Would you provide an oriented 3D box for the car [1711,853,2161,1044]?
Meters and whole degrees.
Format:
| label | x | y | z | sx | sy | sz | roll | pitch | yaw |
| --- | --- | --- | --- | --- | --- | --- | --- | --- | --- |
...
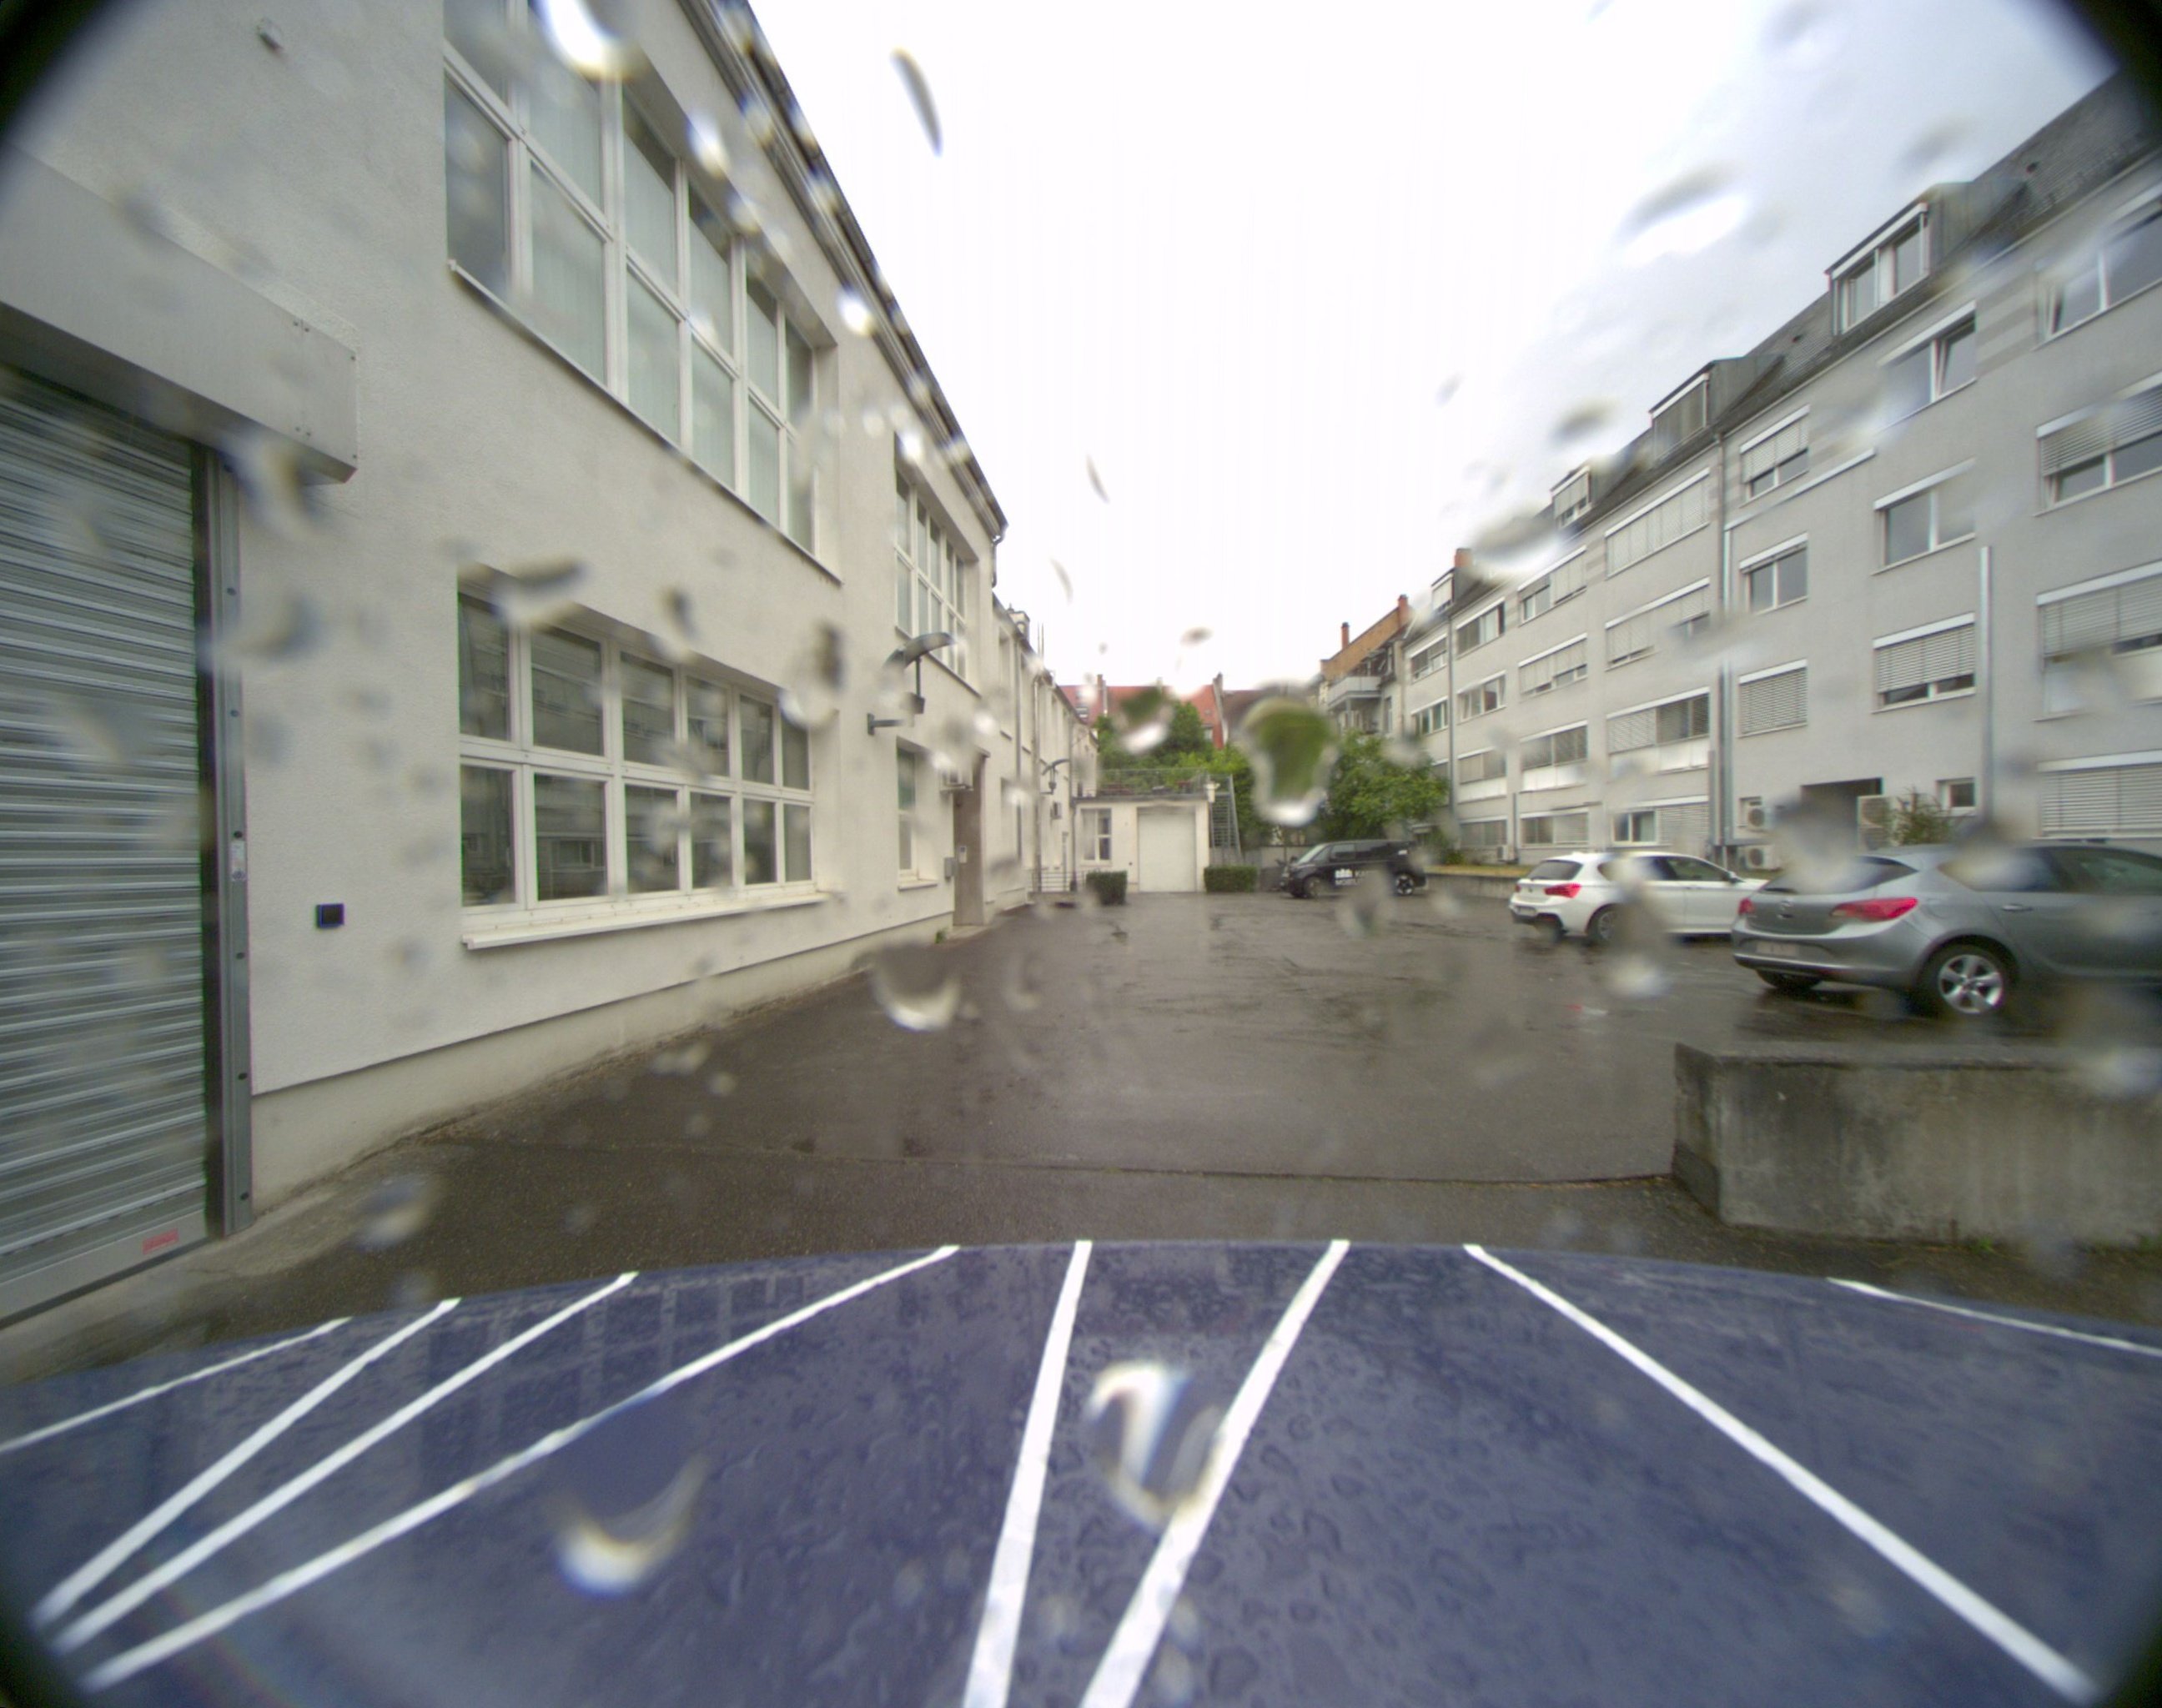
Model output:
| label | x | y | z | sx | sy | sz | roll | pitch | yaw |
| --- | --- | --- | --- | --- | --- | --- | --- | --- | --- |
| car | 8.620 | 0.758 | 6.926 | 4.175 | 1.475 | 1.823 | -1 | 0 | 2 |

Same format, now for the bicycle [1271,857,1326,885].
| label | x | y | z | sx | sy | sz | roll | pitch | yaw |
| --- | --- | --- | --- | --- | --- | --- | --- | --- | --- |
| bicycle | 9.852 | 0.759 | 34.423 | 2.318 | 1.180 | 0.643 | -1 | 3 | 8 |

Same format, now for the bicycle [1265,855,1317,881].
| label | x | y | z | sx | sy | sz | roll | pitch | yaw |
| --- | --- | --- | --- | --- | --- | --- | --- | --- | --- |
| bicycle | 10.051 | 0.673 | 36.379 | 2.318 | 1.180 | 0.643 | -1 | 3 | 8 |

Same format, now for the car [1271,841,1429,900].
| label | x | y | z | sx | sy | sz | roll | pitch | yaw |
| --- | --- | --- | --- | --- | --- | --- | --- | --- | --- |
| car | 9.072 | 0.562 | 25.896 | 4.628 | 1.825 | 1.988 | -1 | -1 | 0 |

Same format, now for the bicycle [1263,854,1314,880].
| label | x | y | z | sx | sy | sz | roll | pitch | yaw |
| --- | --- | --- | --- | --- | --- | --- | --- | --- | --- |
| bicycle | 10.080 | 0.646 | 37.012 | 2.318 | 1.180 | 0.643 | -1 | 3 | 8 |

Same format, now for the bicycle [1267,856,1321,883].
| label | x | y | z | sx | sy | sz | roll | pitch | yaw |
| --- | --- | --- | --- | --- | --- | --- | --- | --- | --- |
| bicycle | 9.871 | 0.726 | 35.225 | 2.318 | 1.180 | 0.643 | -1 | 3 | 8 |

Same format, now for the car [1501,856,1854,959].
| label | x | y | z | sx | sy | sz | roll | pitch | yaw |
| --- | --- | --- | --- | --- | --- | --- | --- | --- | --- |
| car | 9.189 | 0.792 | 11.989 | 4.149 | 1.425 | 1.753 | -1 | 1 | 2 |

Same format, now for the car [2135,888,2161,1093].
| label | x | y | z | sx | sy | sz | roll | pitch | yaw |
| --- | --- | --- | --- | --- | --- | --- | --- | --- | --- |
| car | 9.050 | 0.768 | 3.995 | 4.175 | 1.325 | 1.823 | -3 | -1 | 4 |

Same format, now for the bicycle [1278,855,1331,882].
| label | x | y | z | sx | sy | sz | roll | pitch | yaw |
| --- | --- | --- | --- | --- | --- | --- | --- | --- | --- |
| bicycle | 10.500 | 0.685 | 35.815 | 2.318 | 1.180 | 0.643 | -1 | 3 | 8 |
